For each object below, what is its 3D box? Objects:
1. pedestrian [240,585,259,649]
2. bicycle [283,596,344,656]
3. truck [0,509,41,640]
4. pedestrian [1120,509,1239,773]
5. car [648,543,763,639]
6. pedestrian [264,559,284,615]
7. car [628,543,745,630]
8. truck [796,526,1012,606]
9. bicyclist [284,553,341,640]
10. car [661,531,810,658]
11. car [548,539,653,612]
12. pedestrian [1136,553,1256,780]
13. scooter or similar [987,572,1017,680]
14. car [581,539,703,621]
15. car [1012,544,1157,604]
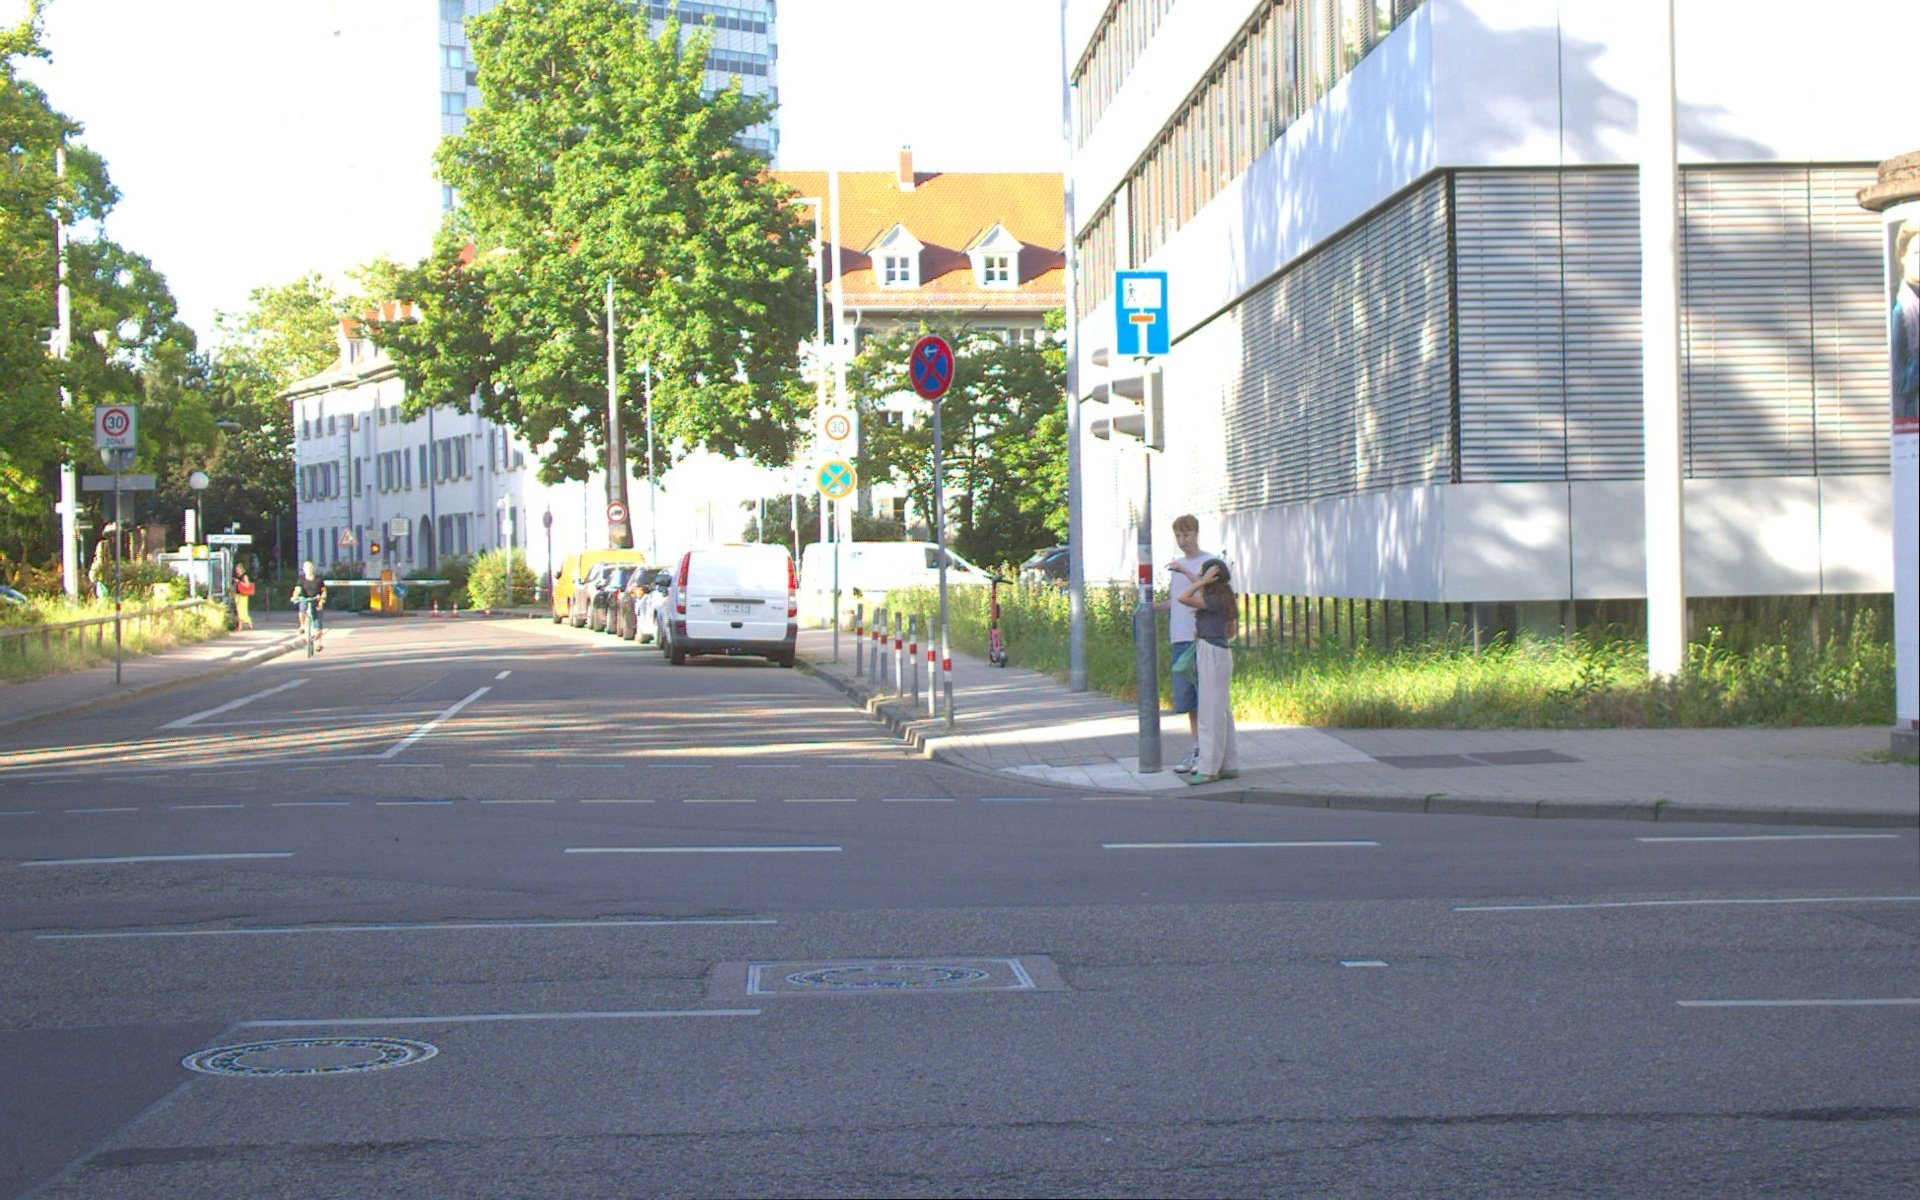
[{"bbox_3d":[-17.880,0.418,86.551,0.433,1.602,0.493,-1,1,-10],"label":"pedestrian"},{"bbox_3d":[-11.668,0.467,62.108,0.865,1.006,2.415,-4,1,-7],"label":"bicycle"},{"bbox_3d":[-19.739,-0.465,63.870,4.827,2.391,2.088,-1,1,-5],"label":"truck"},{"bbox_3d":[1.589,0.291,24.839,0.560,1.844,0.676,-4,1,20],"label":"pedestrian"},{"bbox_3d":[-4.511,-0.190,60.531,1.888,1.550,4.416,0,2,-6],"label":"car"},{"bbox_3d":[-20.675,-0.397,103.629,0.545,1.671,0.476,-2,1,-13],"label":"pedestrian"},{"bbox_3d":[-5.281,-0.293,65.975,1.888,1.550,4.416,-1,2,-9],"label":"car"},{"bbox_3d":[-1.488,-0.899,90.497,5.336,2.007,2.001,-1,0,-15],"label":"truck"},{"bbox_3d":[-11.692,-0.058,62.119,0.865,1.510,1.019,-4,0,-7],"label":"bicyclist"},{"bbox_3d":[-3.455,-0.125,52.324,2.085,1.789,4.416,0,2,-6],"label":"car"},{"bbox_3d":[-8.766,-0.618,83.467,1.888,1.650,4.417,-1,2,-14],"label":"car"},{"bbox_3d":[1.660,0.457,24.228,0.559,1.535,0.677,-4,1,-14],"label":"pedestrian"},{"bbox_3d":[0.557,0.340,45.736,0.330,1.419,1.335,1,0,-2],"label":"scooter or similar"},{"bbox_3d":[-6.818,-0.454,73.358,1.888,1.650,4.417,-1,2,-14],"label":"car"},{"bbox_3d":[3.303,-0.705,91.326,3.553,1.541,1.559,-1,0,-15],"label":"car"}]
